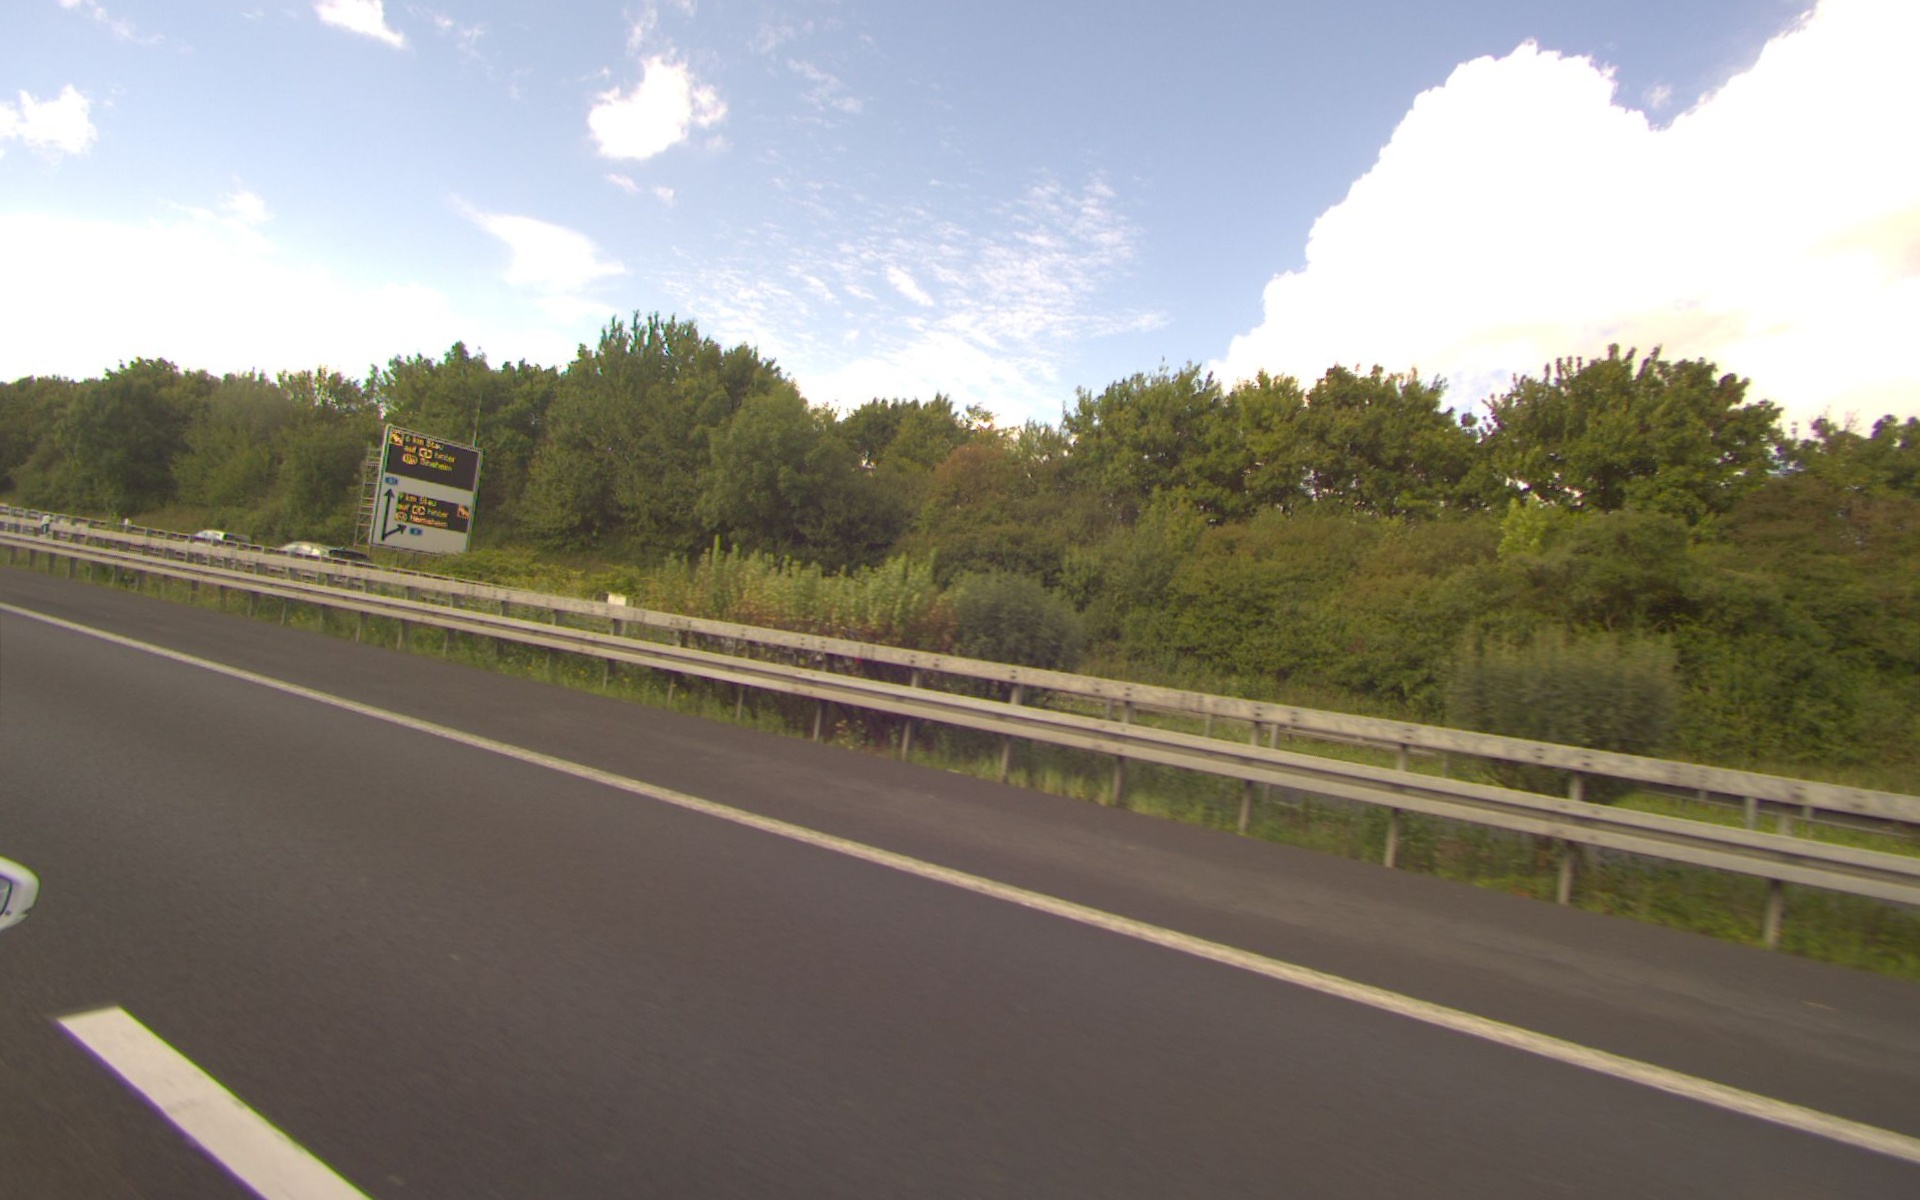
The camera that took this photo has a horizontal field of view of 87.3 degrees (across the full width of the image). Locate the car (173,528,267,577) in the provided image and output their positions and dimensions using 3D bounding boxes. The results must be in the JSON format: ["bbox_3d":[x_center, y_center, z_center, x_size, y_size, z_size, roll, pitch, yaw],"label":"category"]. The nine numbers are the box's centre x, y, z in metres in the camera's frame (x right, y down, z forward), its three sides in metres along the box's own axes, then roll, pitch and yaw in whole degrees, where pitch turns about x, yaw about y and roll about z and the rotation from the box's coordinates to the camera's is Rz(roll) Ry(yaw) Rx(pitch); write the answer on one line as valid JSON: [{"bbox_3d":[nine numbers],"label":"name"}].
[{"bbox_3d":[-34.169,-2.203,46.447,3.933,1.728,1.997,6,-1,31],"label":"car"}]

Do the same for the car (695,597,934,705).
[{"bbox_3d":[-2.918,1.002,19.992,4.237,1.501,1.999,6,-3,30],"label":"car"}]
